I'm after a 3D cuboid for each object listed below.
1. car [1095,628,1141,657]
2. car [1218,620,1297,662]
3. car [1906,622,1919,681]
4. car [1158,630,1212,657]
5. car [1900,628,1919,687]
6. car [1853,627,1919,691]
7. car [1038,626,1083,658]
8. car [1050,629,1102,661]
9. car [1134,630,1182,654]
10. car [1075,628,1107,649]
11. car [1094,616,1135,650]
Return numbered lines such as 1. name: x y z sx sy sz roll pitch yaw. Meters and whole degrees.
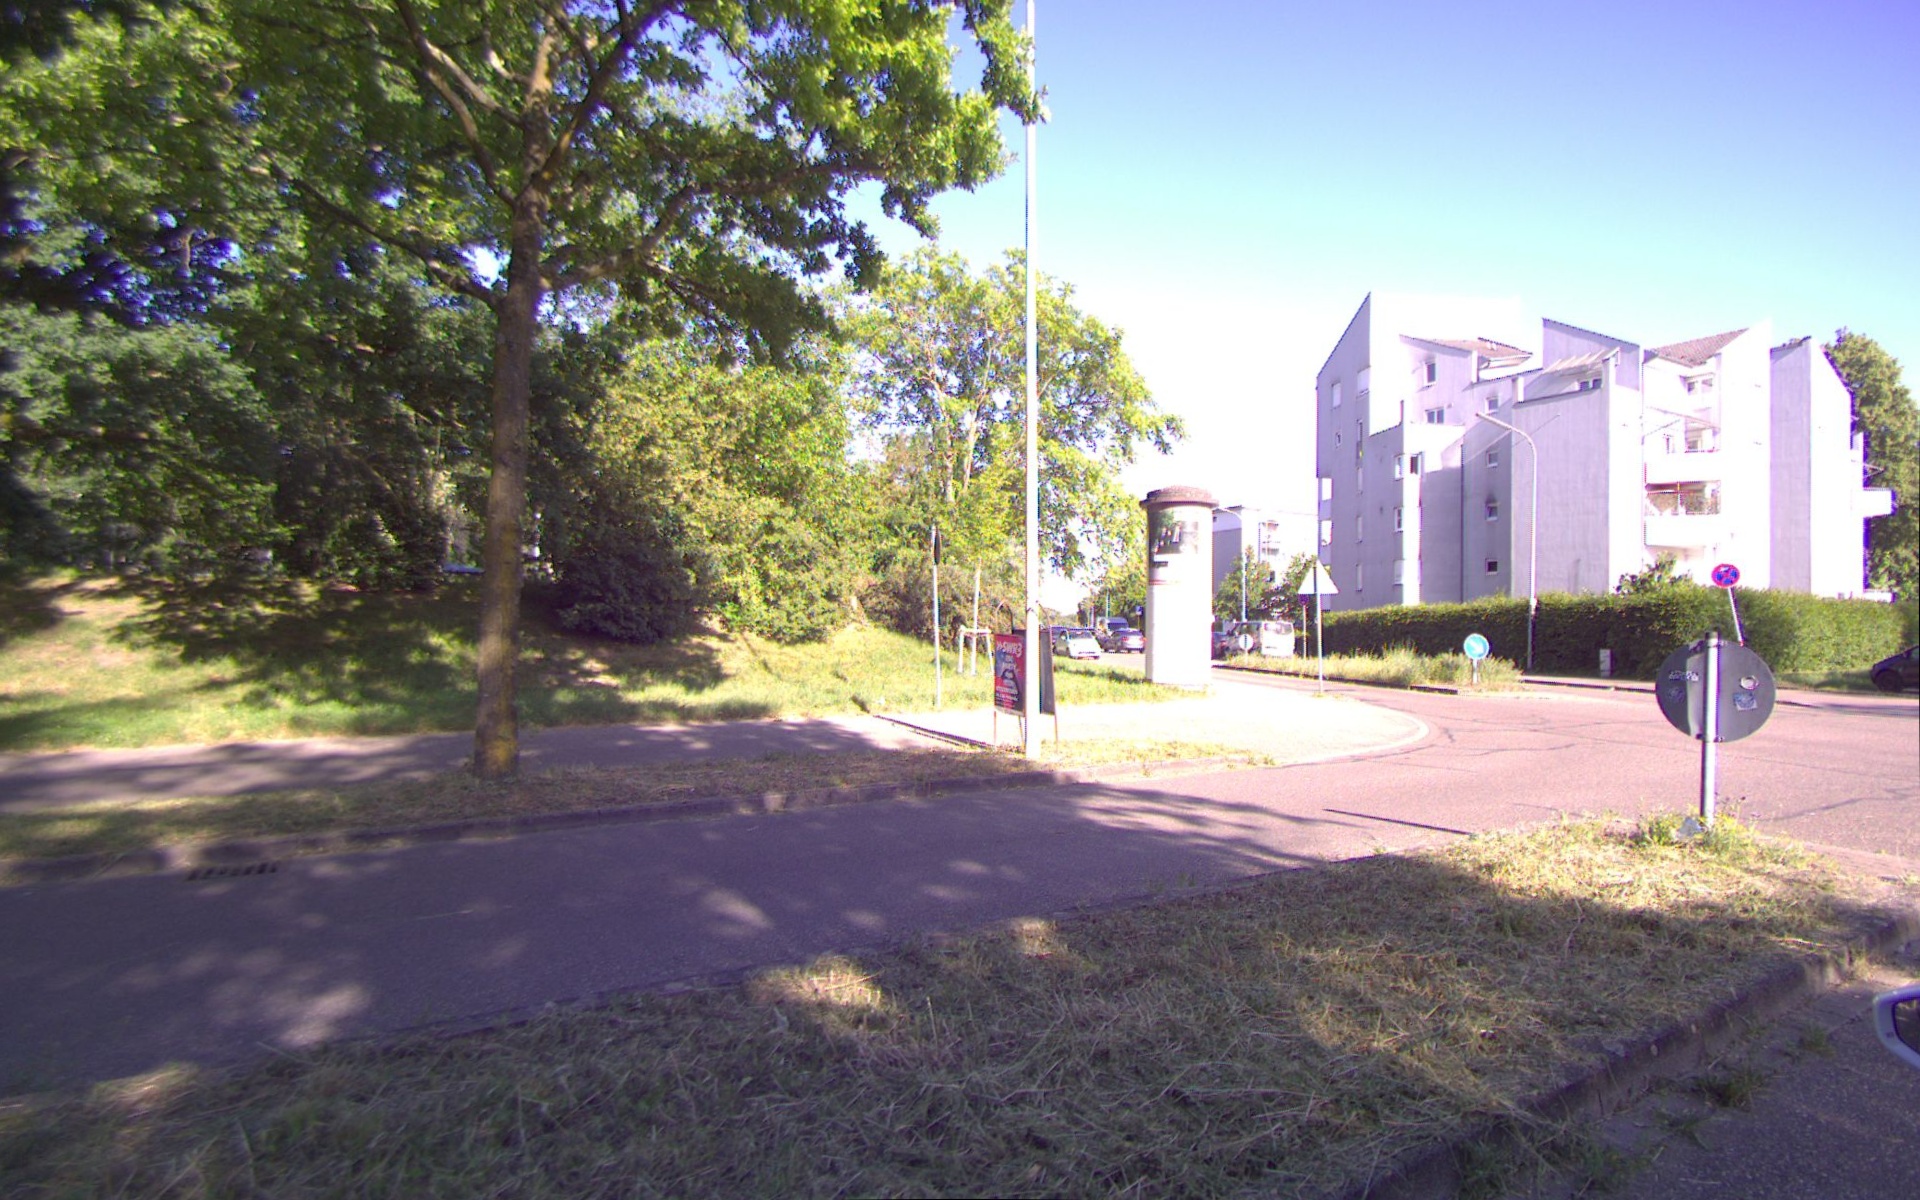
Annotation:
1. car: 9.617 2.582 61.513 1.848 1.664 4.074 1 -2 -5
2. car: 14.539 1.992 49.410 1.963 1.937 4.949 1 -2 -7
3. car: 28.865 1.387 26.812 1.760 1.676 4.979 1 -2 -24
4. car: 13.332 2.568 59.752 1.879 1.508 4.372 1 -2 -5
5. car: 25.670 1.415 24.502 1.624 1.516 3.679 0 -2 -17
6. car: 23.414 1.397 23.445 1.674 1.486 3.525 0 -1 -13
7. car: 5.480 2.267 55.359 1.648 1.660 4.247 0 -1 -5
8. car: 5.795 2.227 50.542 1.602 1.548 3.413 1 -2 -11
9. car: 12.855 2.736 65.410 1.879 1.508 4.372 1 -2 -5
10. car: 11.297 3.330 87.077 1.879 1.688 4.372 1 -2 -5
11. car: 12.304 2.619 80.208 2.071 2.518 5.855 2 -2 -2
